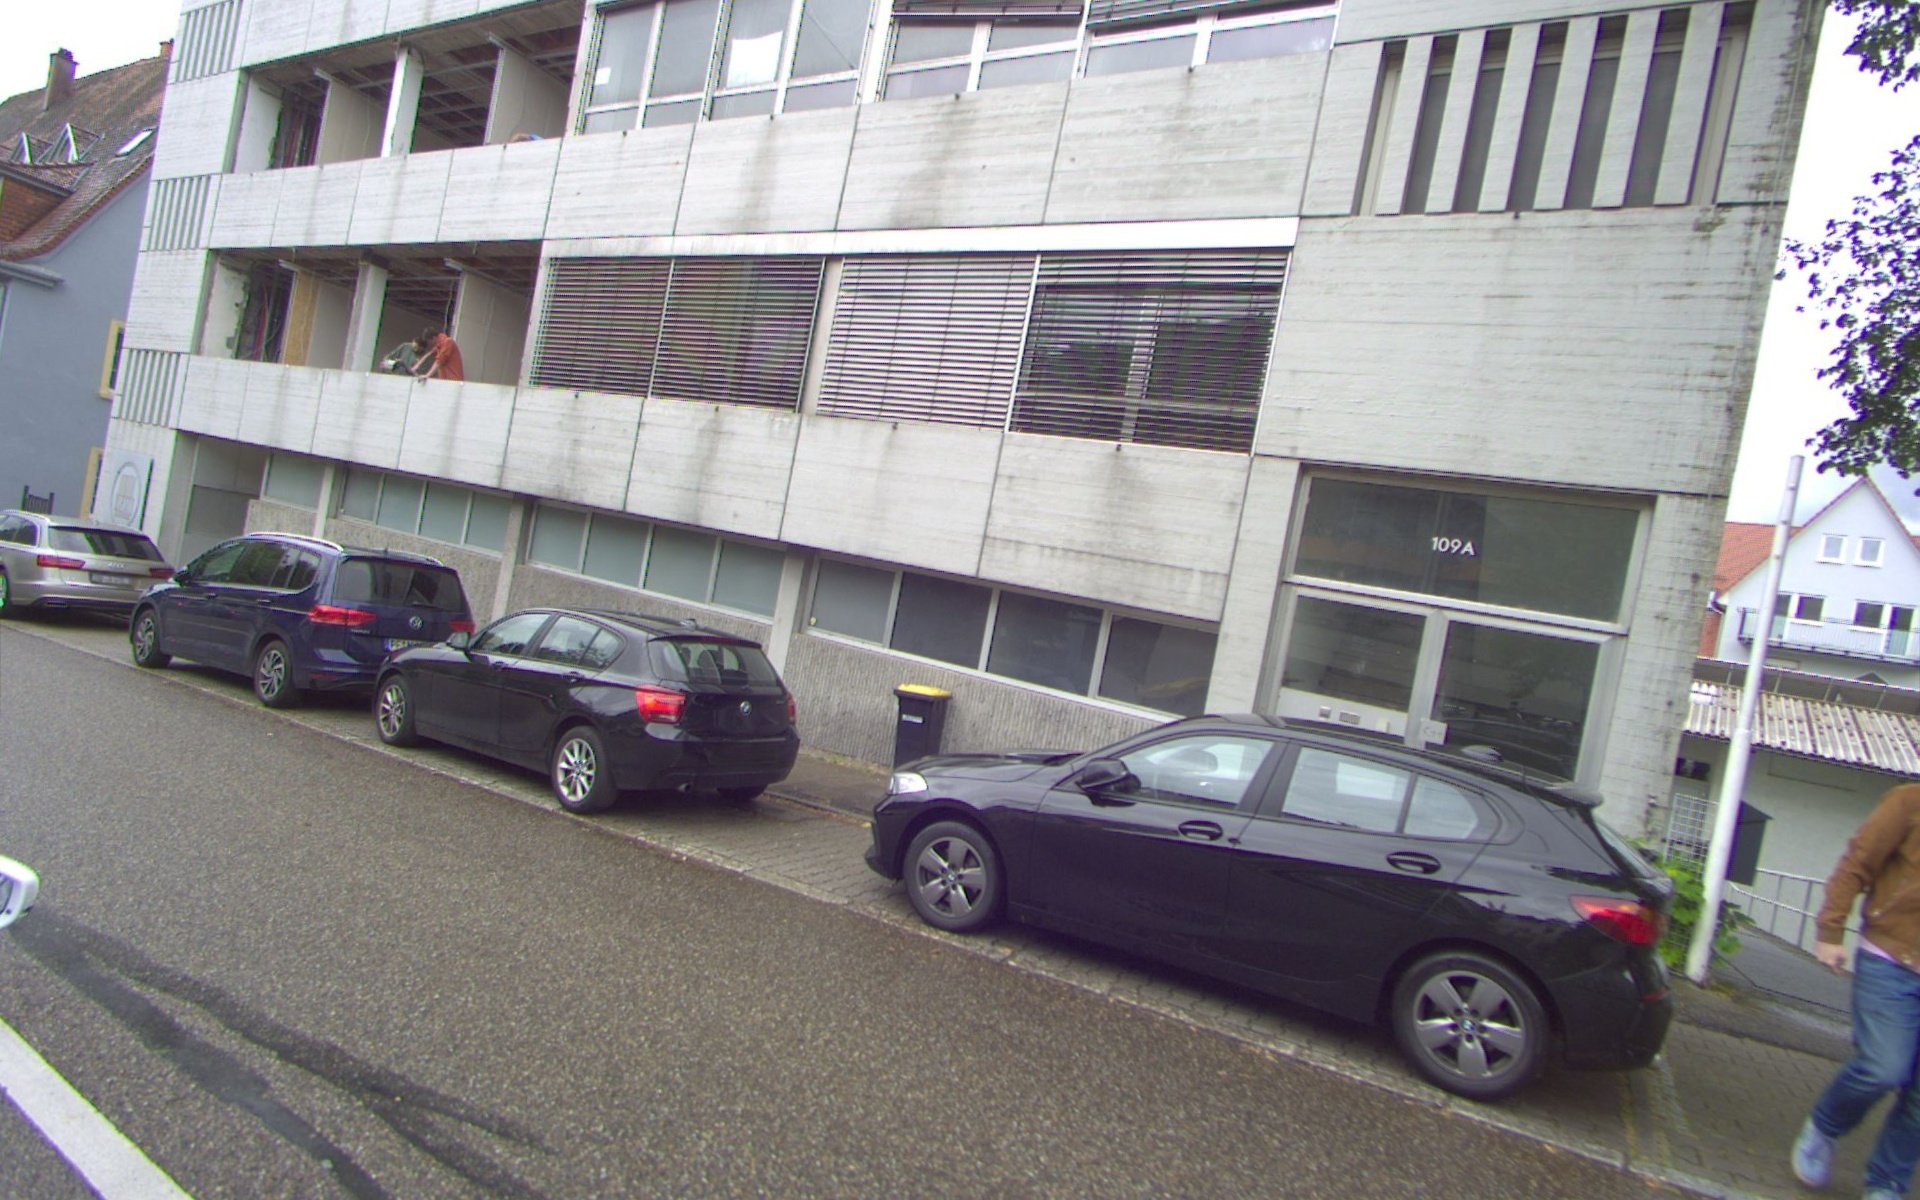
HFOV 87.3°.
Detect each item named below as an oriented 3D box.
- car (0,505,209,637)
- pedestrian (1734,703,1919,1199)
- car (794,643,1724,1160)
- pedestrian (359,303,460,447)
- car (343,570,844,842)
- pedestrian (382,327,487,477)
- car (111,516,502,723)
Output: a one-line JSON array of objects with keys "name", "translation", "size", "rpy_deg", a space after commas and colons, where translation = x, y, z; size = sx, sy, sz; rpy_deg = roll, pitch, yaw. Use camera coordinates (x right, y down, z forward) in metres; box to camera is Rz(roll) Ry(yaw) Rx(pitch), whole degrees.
[{"name": "car", "translation": [-13.367, -0.529, 14.837], "size": [4.449, 1.465, 1.966], "rpy_deg": [7, -1, 30]}, {"name": "pedestrian", "translation": [3.469, 1.344, 3.614], "size": [0.811, 1.801, 1.072], "rpy_deg": [7, -3, 31]}, {"name": "car", "translation": [1.454, 1.312, 5.841], "size": [4.367, 1.451, 1.999], "rpy_deg": [7, -2, 30]}, {"name": "pedestrian", "translation": [-8.815, -3.571, 16.125], "size": [0.846, 2.037, 0.909], "rpy_deg": [6, -2, 31]}, {"name": "car", "translation": [-3.209, 0.738, 8.499], "size": [4.183, 1.465, 1.750], "rpy_deg": [7, -1, 34]}, {"name": "pedestrian", "translation": [-8.049, -2.996, 15.424], "size": [0.846, 2.037, 0.909], "rpy_deg": [6, -2, 31]}, {"name": "car", "translation": [-7.086, 0.169, 10.829], "size": [4.090, 1.618, 1.732], "rpy_deg": [7, -1, 30]}]
